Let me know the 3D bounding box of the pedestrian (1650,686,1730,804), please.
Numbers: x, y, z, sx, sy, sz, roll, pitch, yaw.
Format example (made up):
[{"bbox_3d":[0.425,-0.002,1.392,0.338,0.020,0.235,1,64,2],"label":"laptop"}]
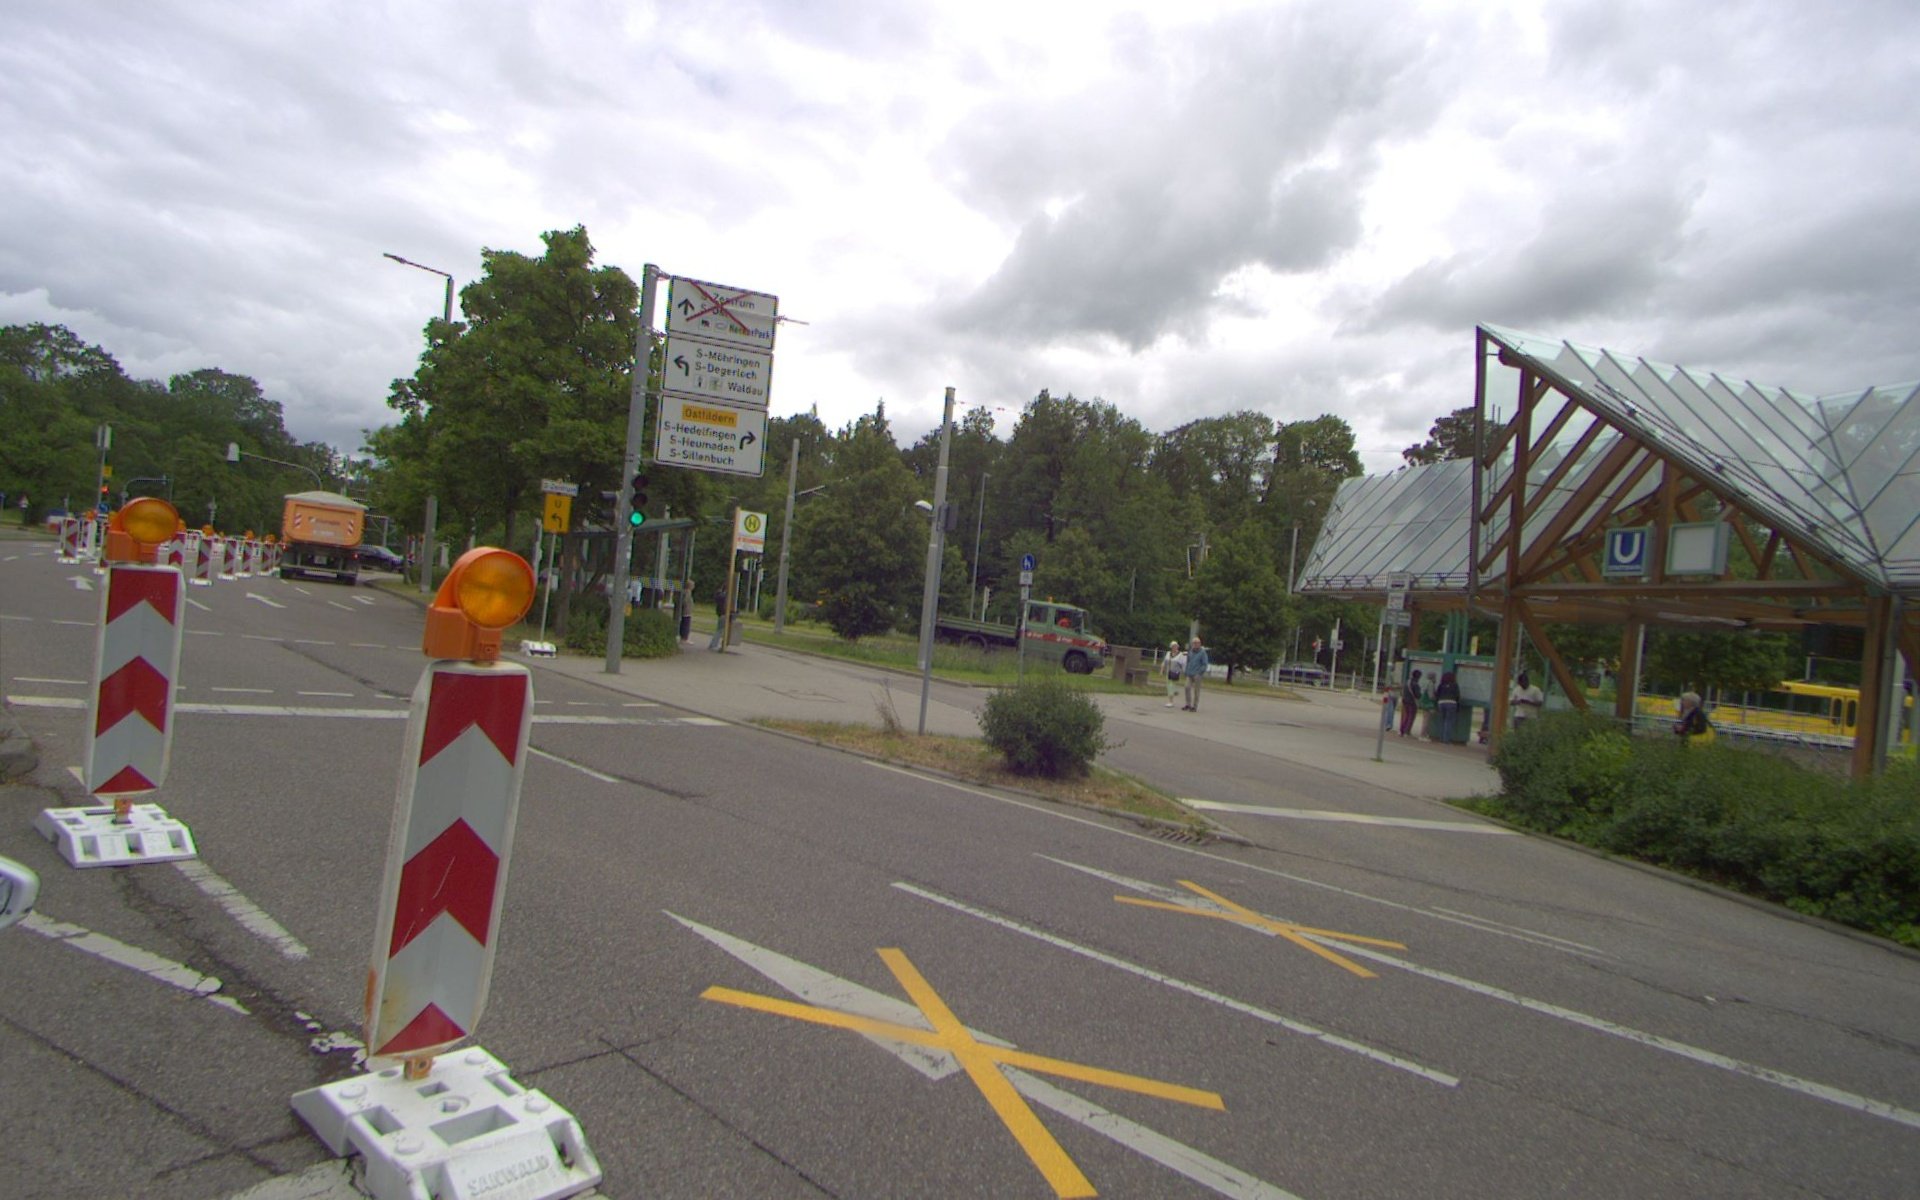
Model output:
[{"bbox_3d":[11.872,2.337,16.375,0.644,1.778,0.668,7,-1,-2],"label":"pedestrian"}]

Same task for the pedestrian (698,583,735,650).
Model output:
[{"bbox_3d":[-5.874,0.404,24.309,0.472,1.534,0.522,6,-1,35],"label":"pedestrian"}]

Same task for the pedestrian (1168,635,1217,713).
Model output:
[{"bbox_3d":[5.686,1.806,24.634,0.663,1.778,0.729,8,-2,-38],"label":"pedestrian"}]

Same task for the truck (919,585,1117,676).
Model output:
[{"bbox_3d":[2.079,1.085,35.671,6.420,2.379,2.409,6,-2,17],"label":"truck"}]

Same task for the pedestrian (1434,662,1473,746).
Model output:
[{"bbox_3d":[11.042,2.315,22.483,0.590,1.778,0.668,6,-1,29],"label":"pedestrian"}]

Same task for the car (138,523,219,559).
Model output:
[{"bbox_3d":[-55.313,-4.155,71.267,3.928,1.903,2.000,7,-2,-4],"label":"car"}]

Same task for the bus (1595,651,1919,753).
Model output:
[{"bbox_3d":[45.055,5.627,54.546,18.229,3.523,3.983,7,-2,2],"label":"bus"}]

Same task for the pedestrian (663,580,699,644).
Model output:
[{"bbox_3d":[-7.033,0.298,25.378,0.472,1.534,0.522,6,-1,35],"label":"pedestrian"}]

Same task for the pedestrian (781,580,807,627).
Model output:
[{"bbox_3d":[-8.553,0.176,51.884,0.847,2.321,0.617,6,-1,24],"label":"pedestrian"}]

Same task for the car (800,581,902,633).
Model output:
[{"bbox_3d":[-7.000,0.474,64.992,6.031,2.523,2.002,7,-2,6],"label":"car"}]

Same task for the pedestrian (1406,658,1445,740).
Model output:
[{"bbox_3d":[10.665,2.272,23.037,0.590,1.778,0.668,6,-1,29],"label":"pedestrian"}]

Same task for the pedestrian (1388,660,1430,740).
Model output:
[{"bbox_3d":[10.621,2.360,23.791,0.656,1.778,0.562,6,-1,16],"label":"pedestrian"}]

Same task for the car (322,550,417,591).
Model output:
[{"bbox_3d":[-40.855,-2.030,69.639,5.332,2.037,2.003,7,-2,6],"label":"car"}]

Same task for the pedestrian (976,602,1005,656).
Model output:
[{"bbox_3d":[1.856,1.755,60.460,1.094,3.079,1.027,6,-1,24],"label":"pedestrian"}]

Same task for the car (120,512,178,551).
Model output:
[{"bbox_3d":[-45.470,-3.819,56.474,1.783,1.758,3.676,8,-2,-30],"label":"car"}]

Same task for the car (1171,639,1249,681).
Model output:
[{"bbox_3d":[15.418,3.696,62.189,4.245,2.037,2.003,7,-2,6],"label":"car"}]

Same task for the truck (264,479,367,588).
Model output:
[{"bbox_3d":[-25.308,-2.581,39.845,2.837,3.558,8.182,6,0,-31],"label":"truck"}]

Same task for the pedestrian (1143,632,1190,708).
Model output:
[{"bbox_3d":[5.152,1.750,25.139,0.663,1.778,0.729,8,-2,-37],"label":"pedestrian"}]

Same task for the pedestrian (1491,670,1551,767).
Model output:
[{"bbox_3d":[10.894,2.291,19.529,0.663,1.778,0.650,8,-2,-37],"label":"pedestrian"}]

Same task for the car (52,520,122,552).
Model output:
[{"bbox_3d":[-71.240,-5.205,82.154,3.924,1.903,2.003,7,-2,6],"label":"car"}]
